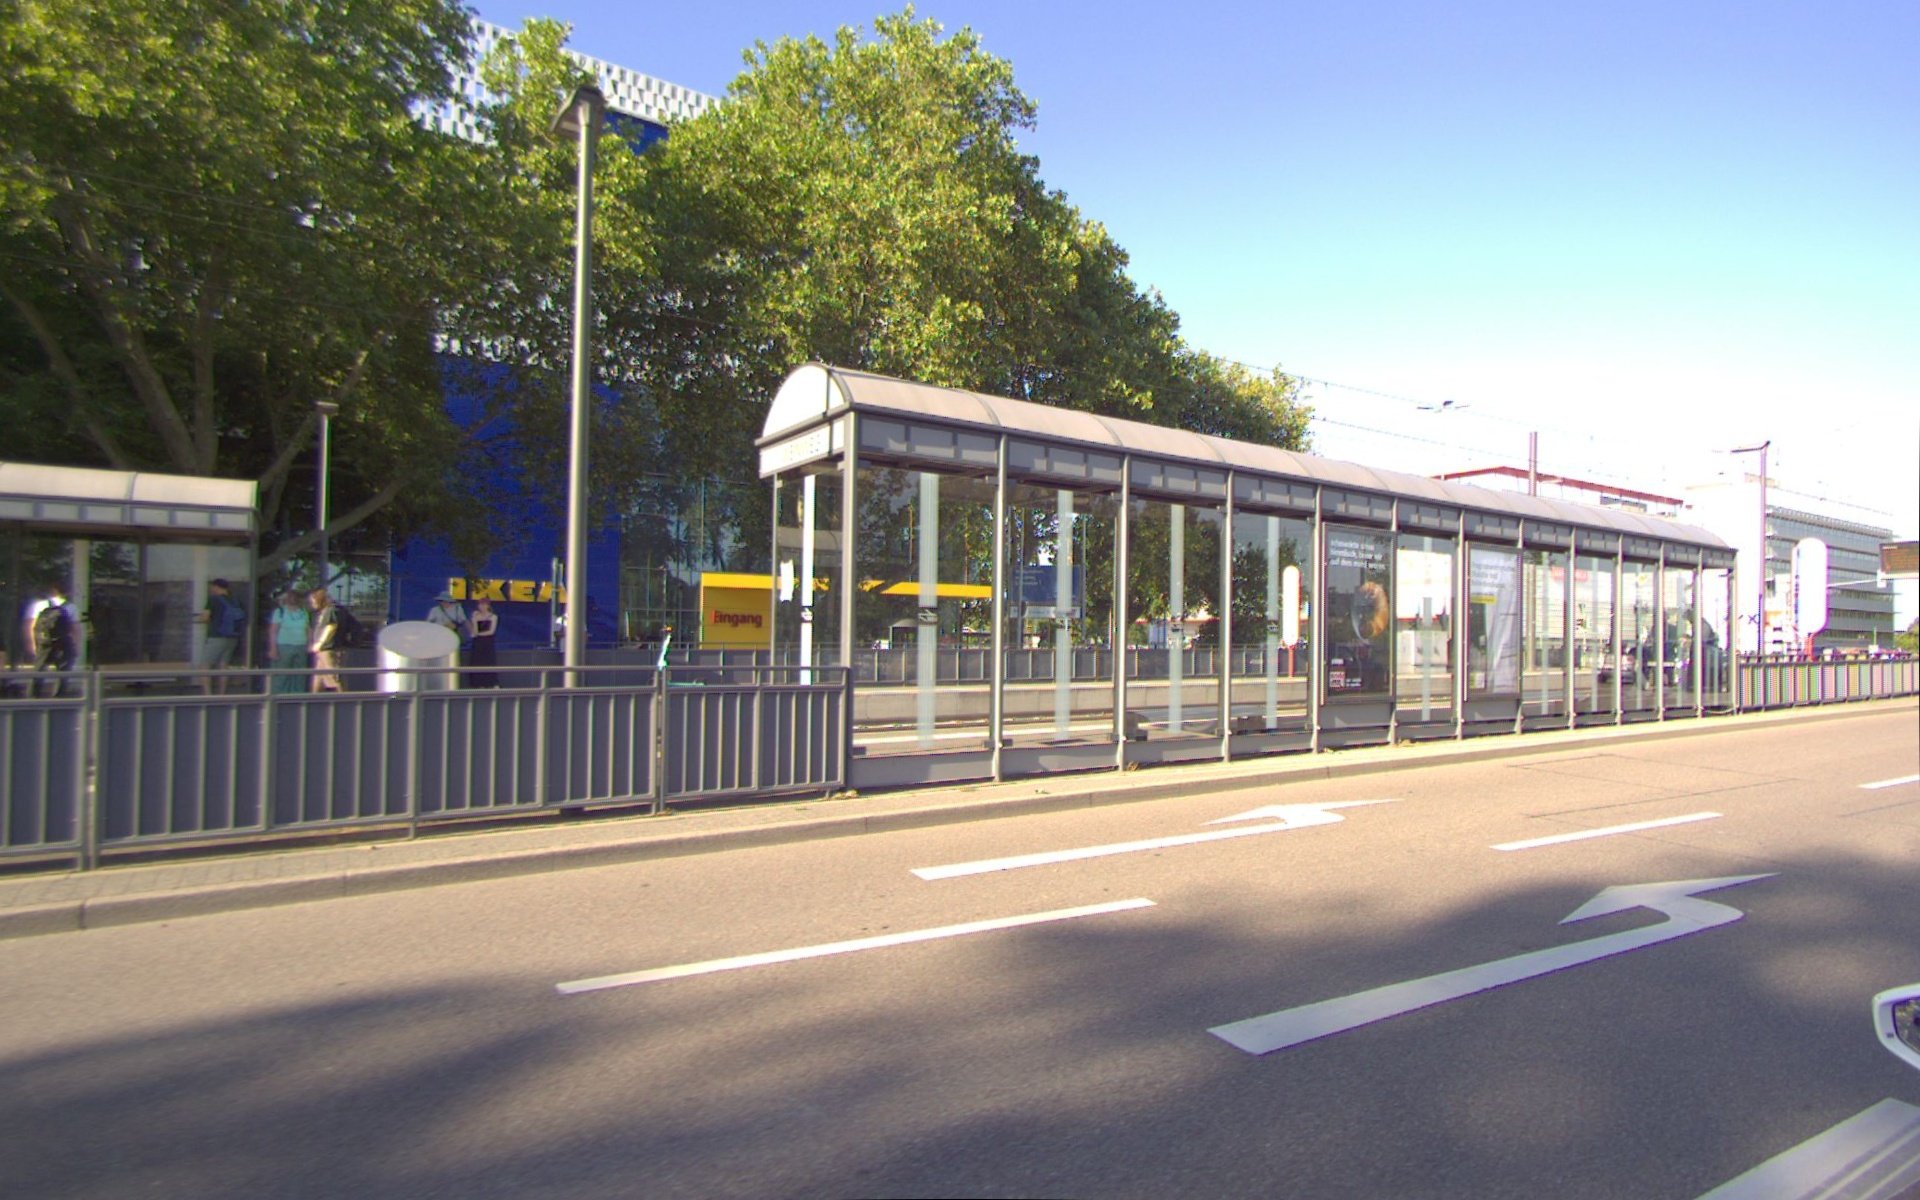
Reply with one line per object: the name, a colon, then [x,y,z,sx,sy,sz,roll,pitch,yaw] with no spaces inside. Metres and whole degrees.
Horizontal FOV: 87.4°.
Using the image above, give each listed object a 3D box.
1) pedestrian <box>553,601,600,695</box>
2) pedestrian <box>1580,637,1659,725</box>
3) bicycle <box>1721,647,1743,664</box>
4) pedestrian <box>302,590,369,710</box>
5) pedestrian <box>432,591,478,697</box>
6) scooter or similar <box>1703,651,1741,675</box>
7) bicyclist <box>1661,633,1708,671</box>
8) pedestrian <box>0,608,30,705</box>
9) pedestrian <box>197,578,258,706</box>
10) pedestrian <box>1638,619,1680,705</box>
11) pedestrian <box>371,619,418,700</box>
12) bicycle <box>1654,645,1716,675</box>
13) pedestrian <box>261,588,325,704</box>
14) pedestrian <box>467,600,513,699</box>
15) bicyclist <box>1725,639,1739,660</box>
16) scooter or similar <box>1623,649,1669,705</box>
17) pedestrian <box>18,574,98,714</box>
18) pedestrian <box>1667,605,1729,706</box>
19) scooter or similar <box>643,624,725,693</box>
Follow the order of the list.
pedestrian: [-6.883,0.855,18.013,0.682,1.641,0.599,1,0,-30]
pedestrian: [9.968,1.203,15.185,0.869,1.248,0.676,1,1,-33]
bicycle: [56.515,4.045,73.498,1.968,1.183,0.585,1,-1,-30]
pedestrian: [-8.908,0.691,14.342,0.768,1.654,0.656,1,0,-32]
pedestrian: [-8.524,0.736,16.952,0.628,1.742,0.648,1,0,-30]
scooter or similar: [33.491,2.756,44.138,1.046,1.028,0.789,1,-3,-2]
bicyclist: [31.806,2.300,44.133,1.457,1.638,0.823,1,-3,-2]
pedestrian: [-12.999,0.750,13.468,0.679,1.269,0.648,1,1,-36]
pedestrian: [-10.899,0.604,14.943,0.681,1.845,0.726,1,1,-39]
pedestrian: [13.516,1.176,19.412,0.551,1.617,0.637,1,-1,44]
pedestrian: [-9.063,0.943,16.107,0.610,1.241,0.599,1,0,-30]
bicycle: [31.843,2.634,44.126,2.235,1.234,0.715,1,-3,-2]
pedestrian: [-10.193,0.683,15.355,0.682,1.714,0.724,1,1,-43]
pedestrian: [-8.029,0.827,17.158,0.628,1.641,0.648,1,0,-30]
bicyclist: [56.497,3.618,73.482,0.742,1.543,0.585,1,-1,-30]
scooter or similar: [12.883,1.434,18.855,0.563,1.000,0.811,1,-1,44]
pedestrian: [-11.762,0.559,13.118,0.679,1.766,0.648,1,1,-36]
pedestrian: [13.077,0.966,17.801,0.815,1.738,0.688,2,-1,-38]
scooter or similar: [-5.185,1.076,18.886,1.358,1.251,0.660,2,-2,-34]
